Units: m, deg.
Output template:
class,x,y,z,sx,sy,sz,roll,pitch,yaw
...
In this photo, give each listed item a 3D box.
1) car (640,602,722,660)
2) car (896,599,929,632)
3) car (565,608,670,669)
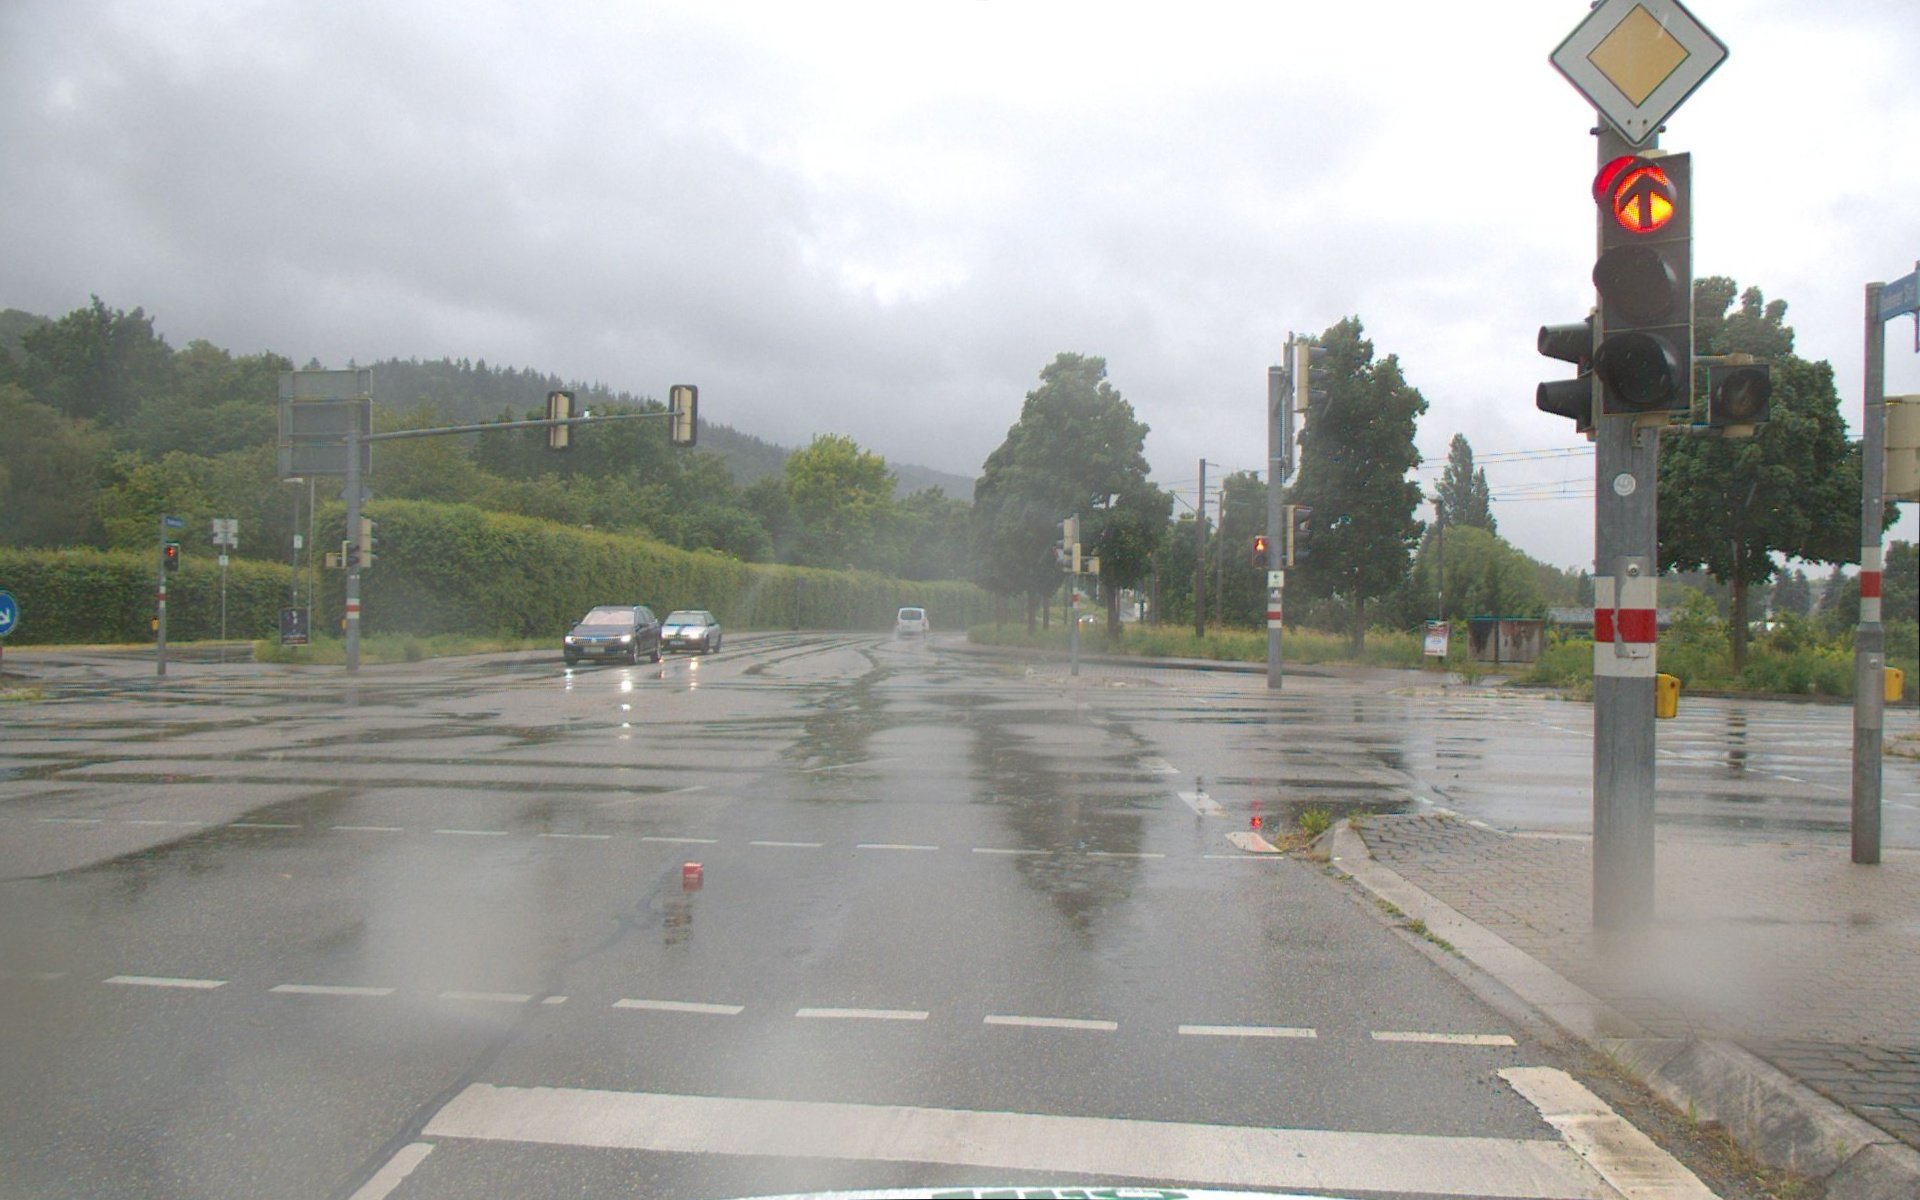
class,x,y,z,sx,sy,sz,roll,pitch,yaw
car,-9.002,0.969,53.607,1.995,1.738,4.065,1,0,-1
car,-2.868,0.888,99.135,1.914,1.937,4.118,0,0,-2
car,-8.887,0.974,43.274,1.673,1.491,4.454,0,0,2
